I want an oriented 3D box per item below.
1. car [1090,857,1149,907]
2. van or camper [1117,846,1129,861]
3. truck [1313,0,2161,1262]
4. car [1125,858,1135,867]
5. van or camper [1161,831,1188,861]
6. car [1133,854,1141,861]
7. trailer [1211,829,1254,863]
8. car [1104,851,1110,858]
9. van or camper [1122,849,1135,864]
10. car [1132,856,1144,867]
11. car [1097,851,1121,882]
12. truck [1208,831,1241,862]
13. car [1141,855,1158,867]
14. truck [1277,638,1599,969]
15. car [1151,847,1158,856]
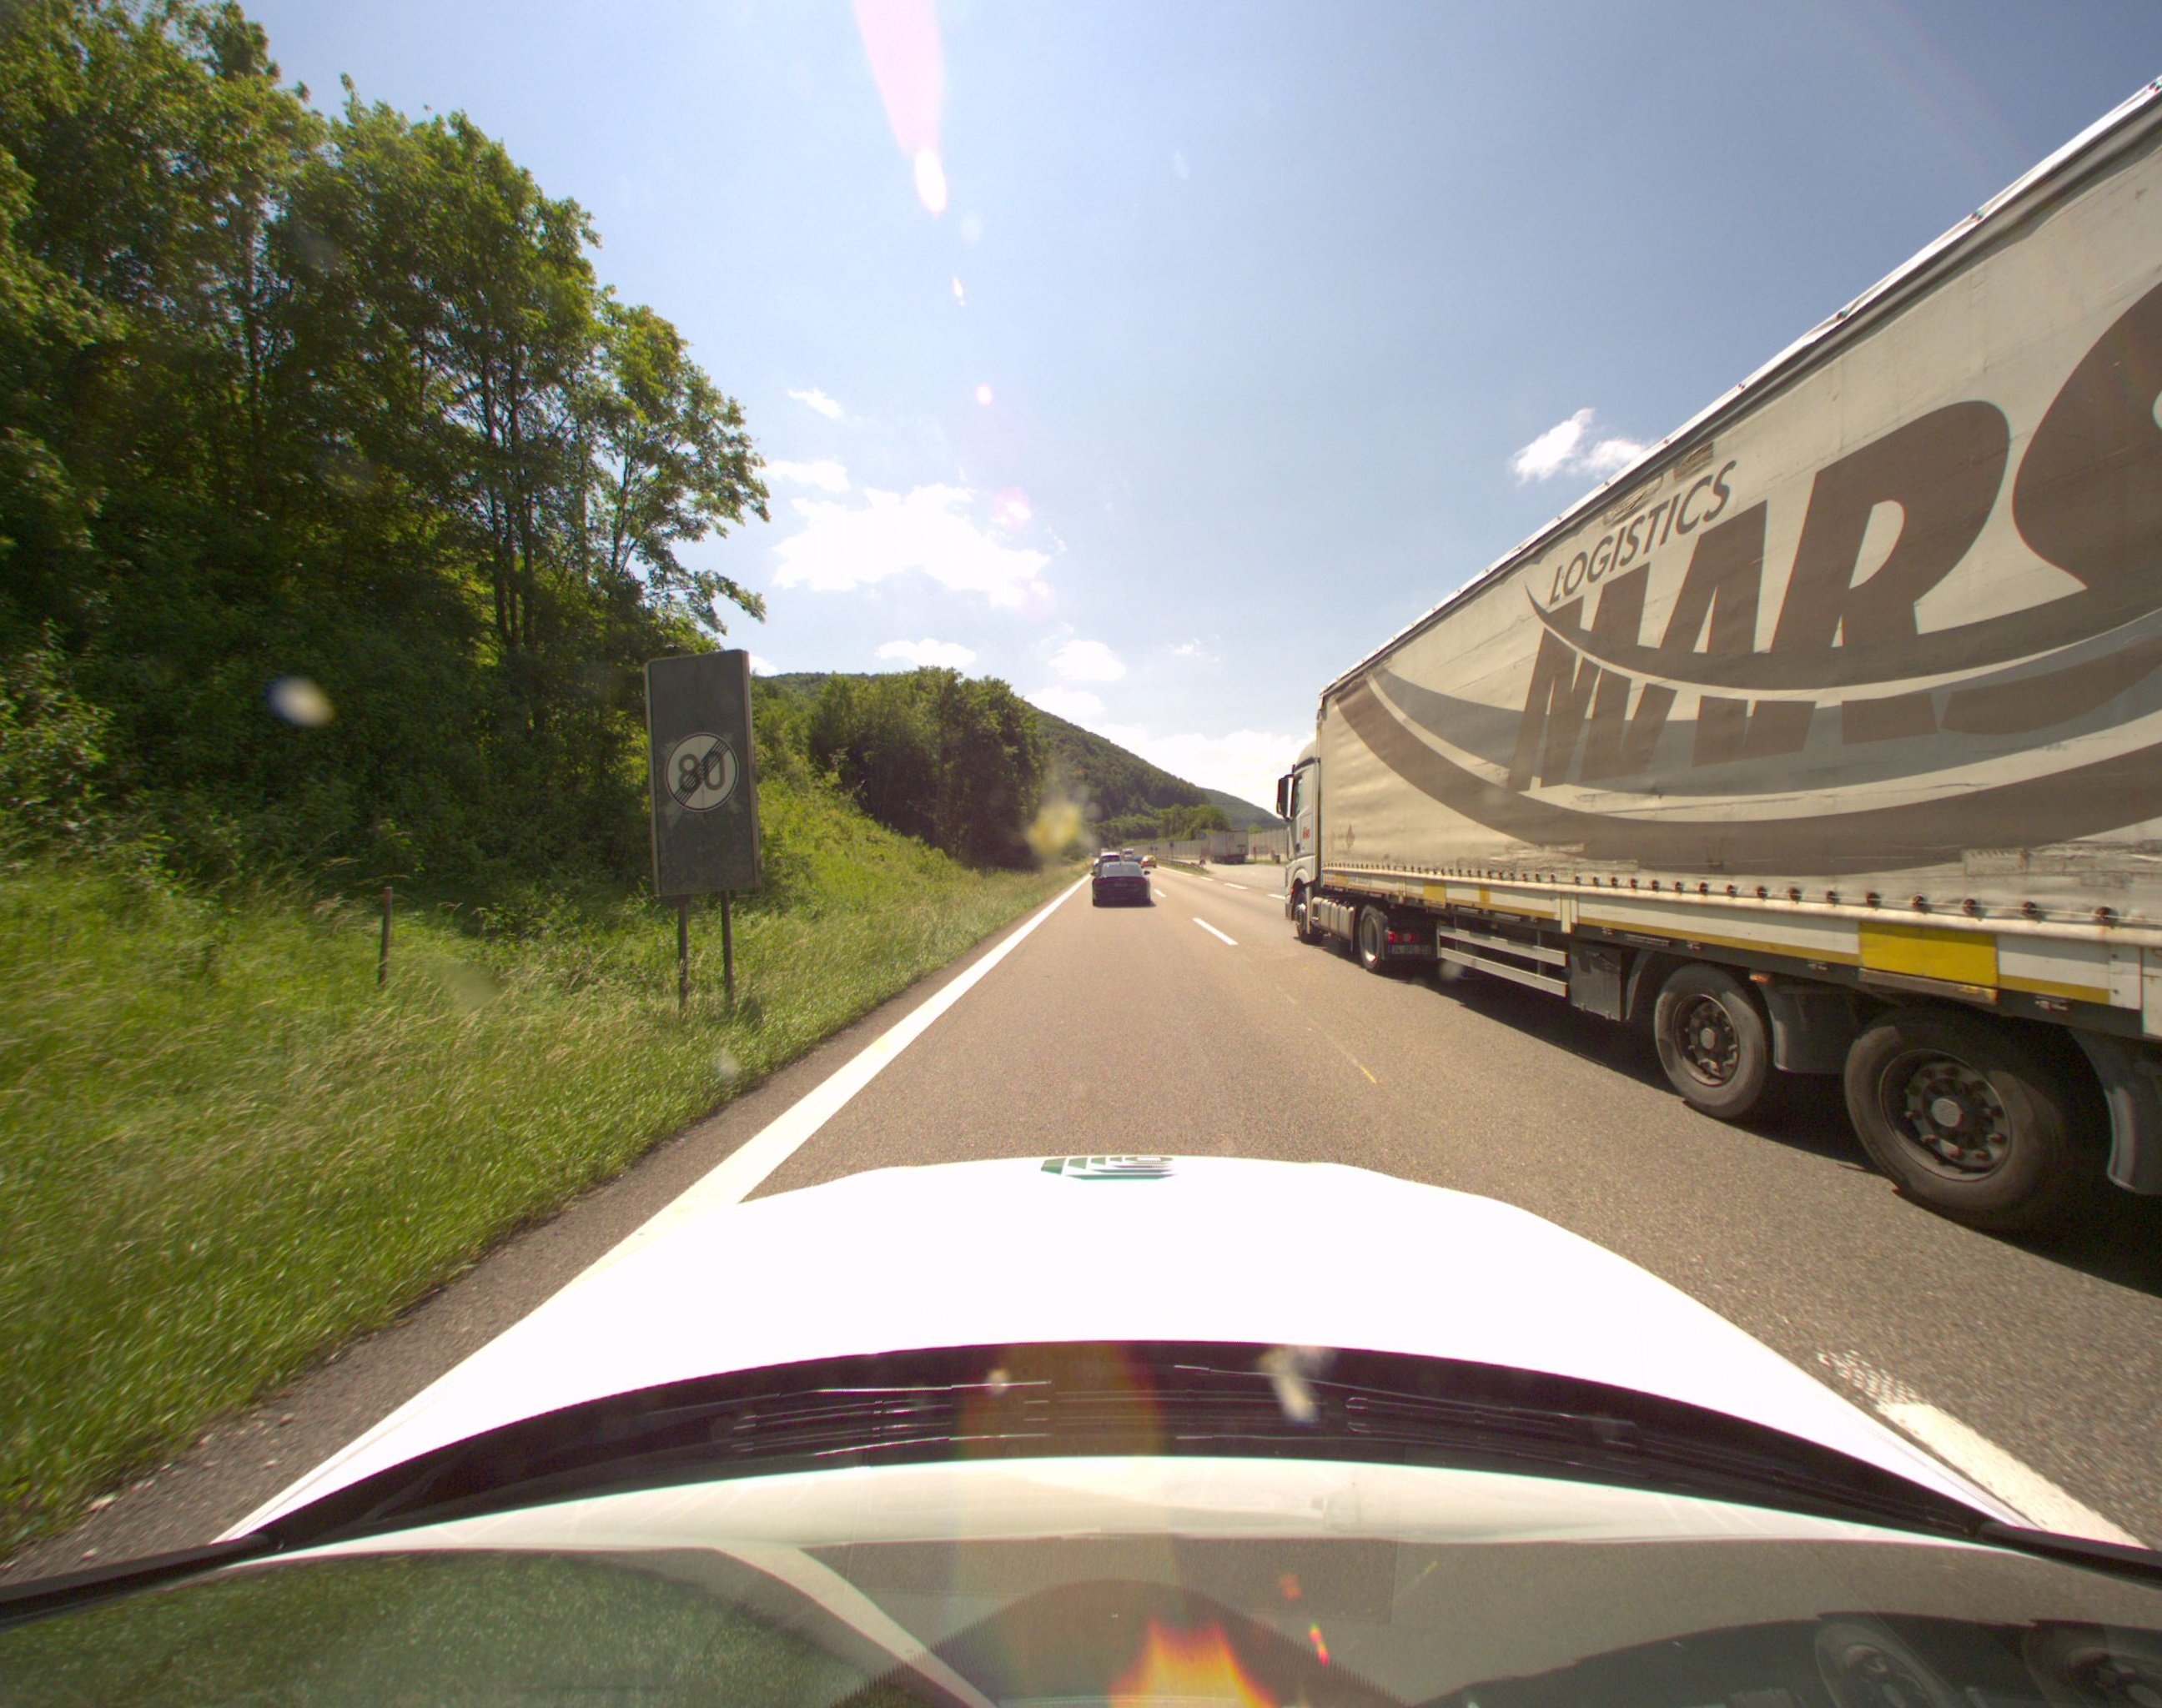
[{"bbox_3d":[1.268,0.867,27.071,1.805,1.514,3.516,-1,0,2],"label":"car"},{"bbox_3d":[11.325,-0.024,219.102,2.786,3.907,6.166,1,-1,0],"label":"van or camper"},{"bbox_3d":[4.849,-0.699,6.083,2.716,4.068,13.745,0,-1,2],"label":"truck"},{"bbox_3d":[8.348,1.520,138.571,1.524,1.525,3.598,1,-1,2],"label":"car"},{"bbox_3d":[12.437,-0.994,108.639,2.786,3.842,6.166,1,-1,0],"label":"van or camper"},{"bbox_3d":[15.468,0.939,226.287,1.987,2.014,4.000,-1,0,1],"label":"car"},{"bbox_3d":[18.316,-0.914,99.033,3.399,3.900,11.155,-1,0,2],"label":"trailer"},{"bbox_3d":[7.781,0.235,245.574,1.681,2.014,4.001,-1,0,1],"label":"car"},{"bbox_3d":[9.987,0.507,171.484,2.420,3.155,5.205,1,-1,2],"label":"van or camper"},{"bbox_3d":[8.211,1.048,117.717,1.524,1.525,3.598,1,-1,2],"label":"car"},{"bbox_3d":[1.873,0.848,54.301,1.515,1.968,3.515,1,-1,2],"label":"car"},{"bbox_3d":[18.522,-0.903,105.091,3.399,3.900,5.389,-1,0,1],"label":"truck"},{"bbox_3d":[8.321,0.841,99.575,1.871,1.499,4.002,-1,-1,2],"label":"car"},{"bbox_3d":[5.064,-0.574,12.886,2.709,4.068,5.756,0,-1,2],"label":"truck"},{"bbox_3d":[16.967,-0.665,188.188,1.570,2.014,3.430,-1,0,2],"label":"car"}]
